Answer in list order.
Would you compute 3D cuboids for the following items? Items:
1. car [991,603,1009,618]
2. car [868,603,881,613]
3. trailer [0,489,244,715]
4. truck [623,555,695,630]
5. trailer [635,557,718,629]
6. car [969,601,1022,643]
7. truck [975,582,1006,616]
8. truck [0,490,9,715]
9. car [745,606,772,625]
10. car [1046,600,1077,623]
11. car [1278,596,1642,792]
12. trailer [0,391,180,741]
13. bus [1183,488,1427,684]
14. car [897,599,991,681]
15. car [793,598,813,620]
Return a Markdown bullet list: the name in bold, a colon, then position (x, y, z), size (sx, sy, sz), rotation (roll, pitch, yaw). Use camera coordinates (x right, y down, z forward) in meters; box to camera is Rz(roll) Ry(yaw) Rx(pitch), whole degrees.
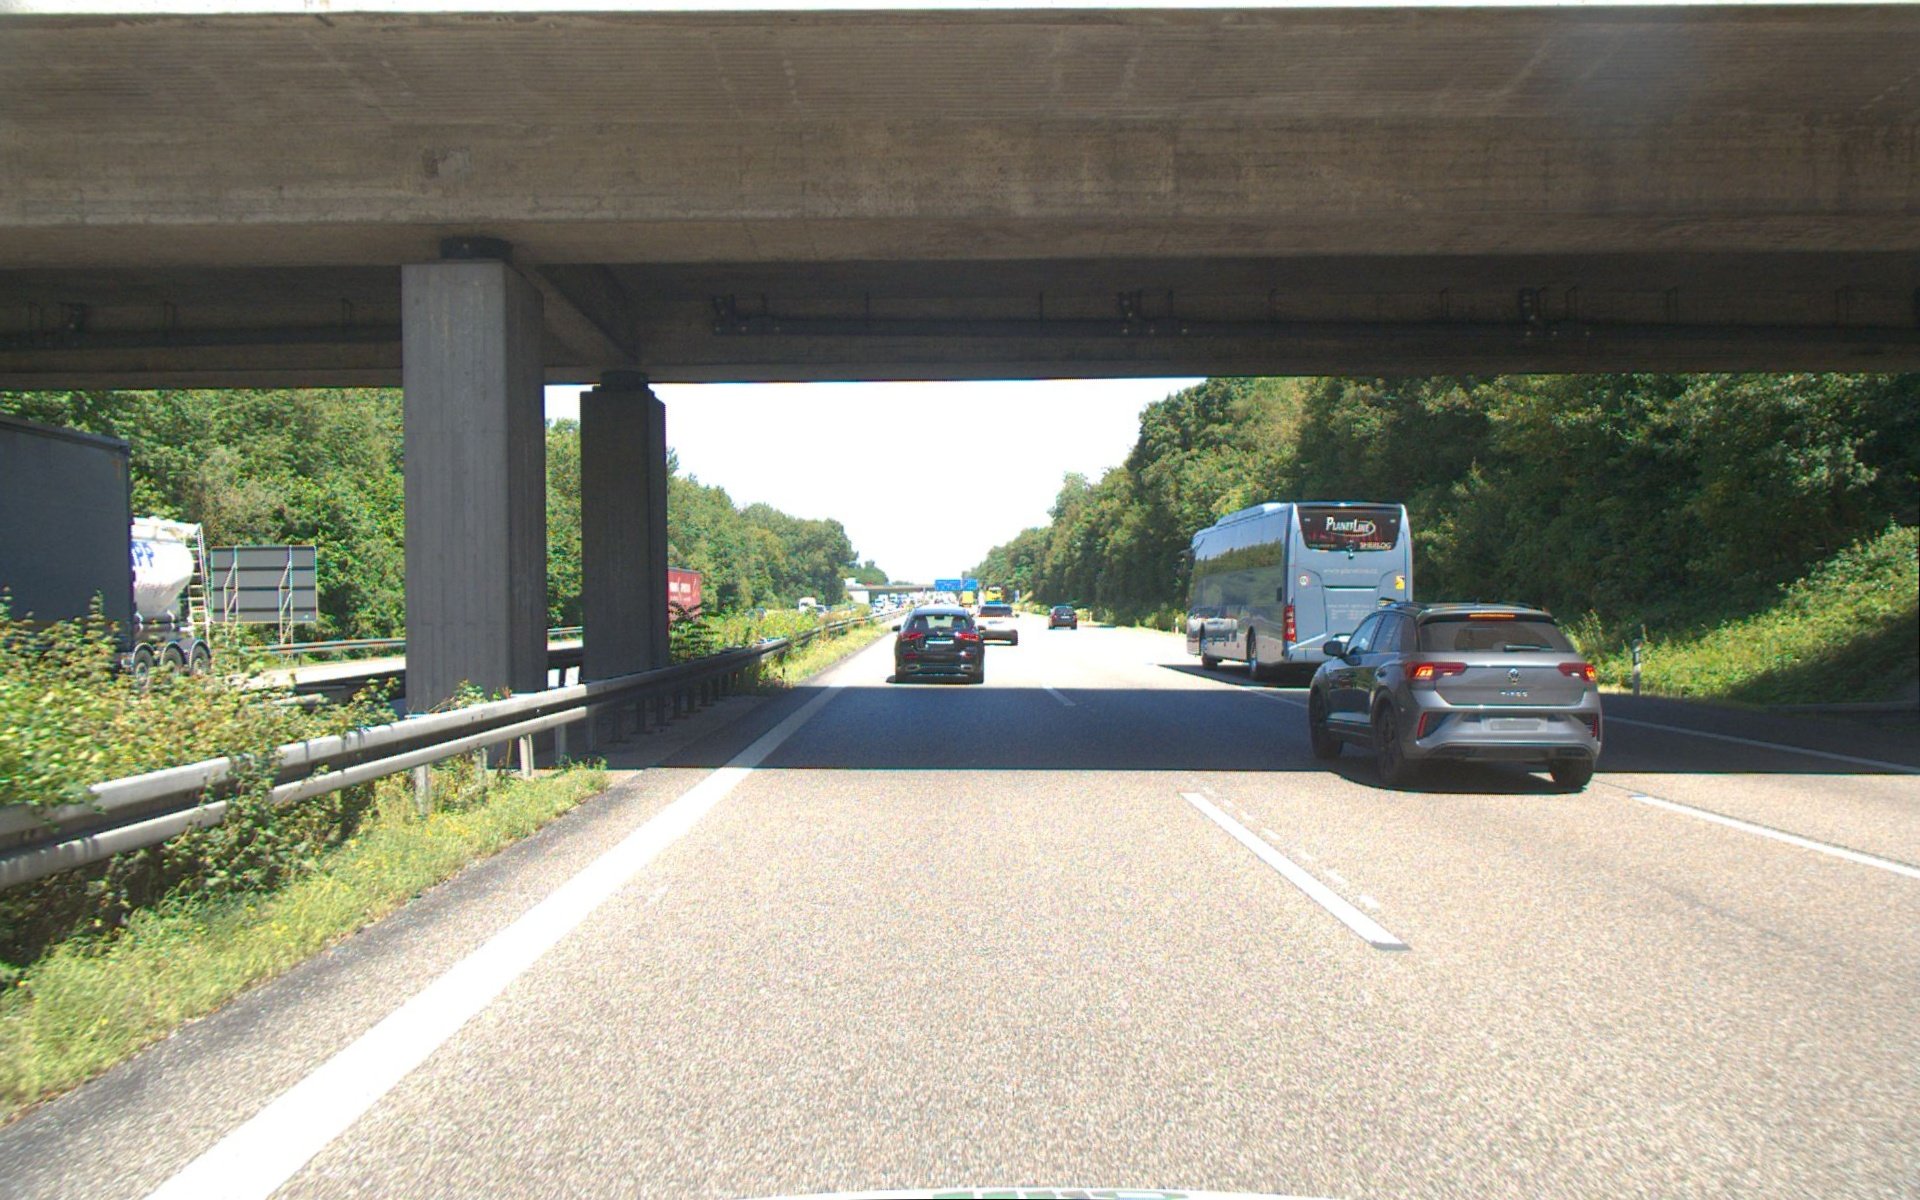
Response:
- **car**: position (4.518, 1.187, 187.509), size (2.038, 1.559, 4.241), rotation (0, 0, 0)
- **car**: position (-12.681, 1.181, 245.547), size (1.801, 1.407, 4.427), rotation (-2, 0, -1)
- **trailer**: position (-17.559, 0.069, 31.837), size (2.311, 3.860, 12.072), rotation (-2, 0, -1)
- **truck**: position (-17.260, -0.410, 95.182), size (3.152, 4.130, 5.617), rotation (-1, 0, -1)
- **trailer**: position (-17.417, -0.381, 102.694), size (3.152, 4.130, 12.738), rotation (-1, 0, -1)
- **car**: position (1.349, 0.839, 64.319), size (1.861, 1.559, 4.240), rotation (0, 0, -2)
- **truck**: position (4.270, -0.061, 236.651), size (3.574, 4.670, 15.760), rotation (1, 0, -2)
- **truck**: position (-17.475, 0.085, 25.660), size (2.312, 3.841, 5.251), rotation (-2, 0, -1)
- **car**: position (-17.039, 1.274, 140.226), size (1.811, 1.475, 4.870), rotation (-2, 0, -2)
- **car**: position (6.526, 0.721, 106.205), size (1.753, 1.487, 3.949), rotation (0, 0, 0)
- **car**: position (4.445, 0.745, 15.555), size (1.861, 1.559, 4.758), rotation (0, 0, -2)
- **trailer**: position (-13.097, -0.365, 17.887), size (2.771, 4.298, 13.833), rotation (-2, 0, -1)
- **bus**: position (7.298, -0.259, 37.175), size (2.745, 3.659, 12.472), rotation (0, 0, -1)
- **car**: position (-0.370, 0.759, 33.185), size (1.763, 1.528, 4.240), rotation (0, 0, -2)
- **car**: position (-19.999, 1.125, 211.070), size (2.045, 2.597, 6.226), rotation (-2, 0, -1)
